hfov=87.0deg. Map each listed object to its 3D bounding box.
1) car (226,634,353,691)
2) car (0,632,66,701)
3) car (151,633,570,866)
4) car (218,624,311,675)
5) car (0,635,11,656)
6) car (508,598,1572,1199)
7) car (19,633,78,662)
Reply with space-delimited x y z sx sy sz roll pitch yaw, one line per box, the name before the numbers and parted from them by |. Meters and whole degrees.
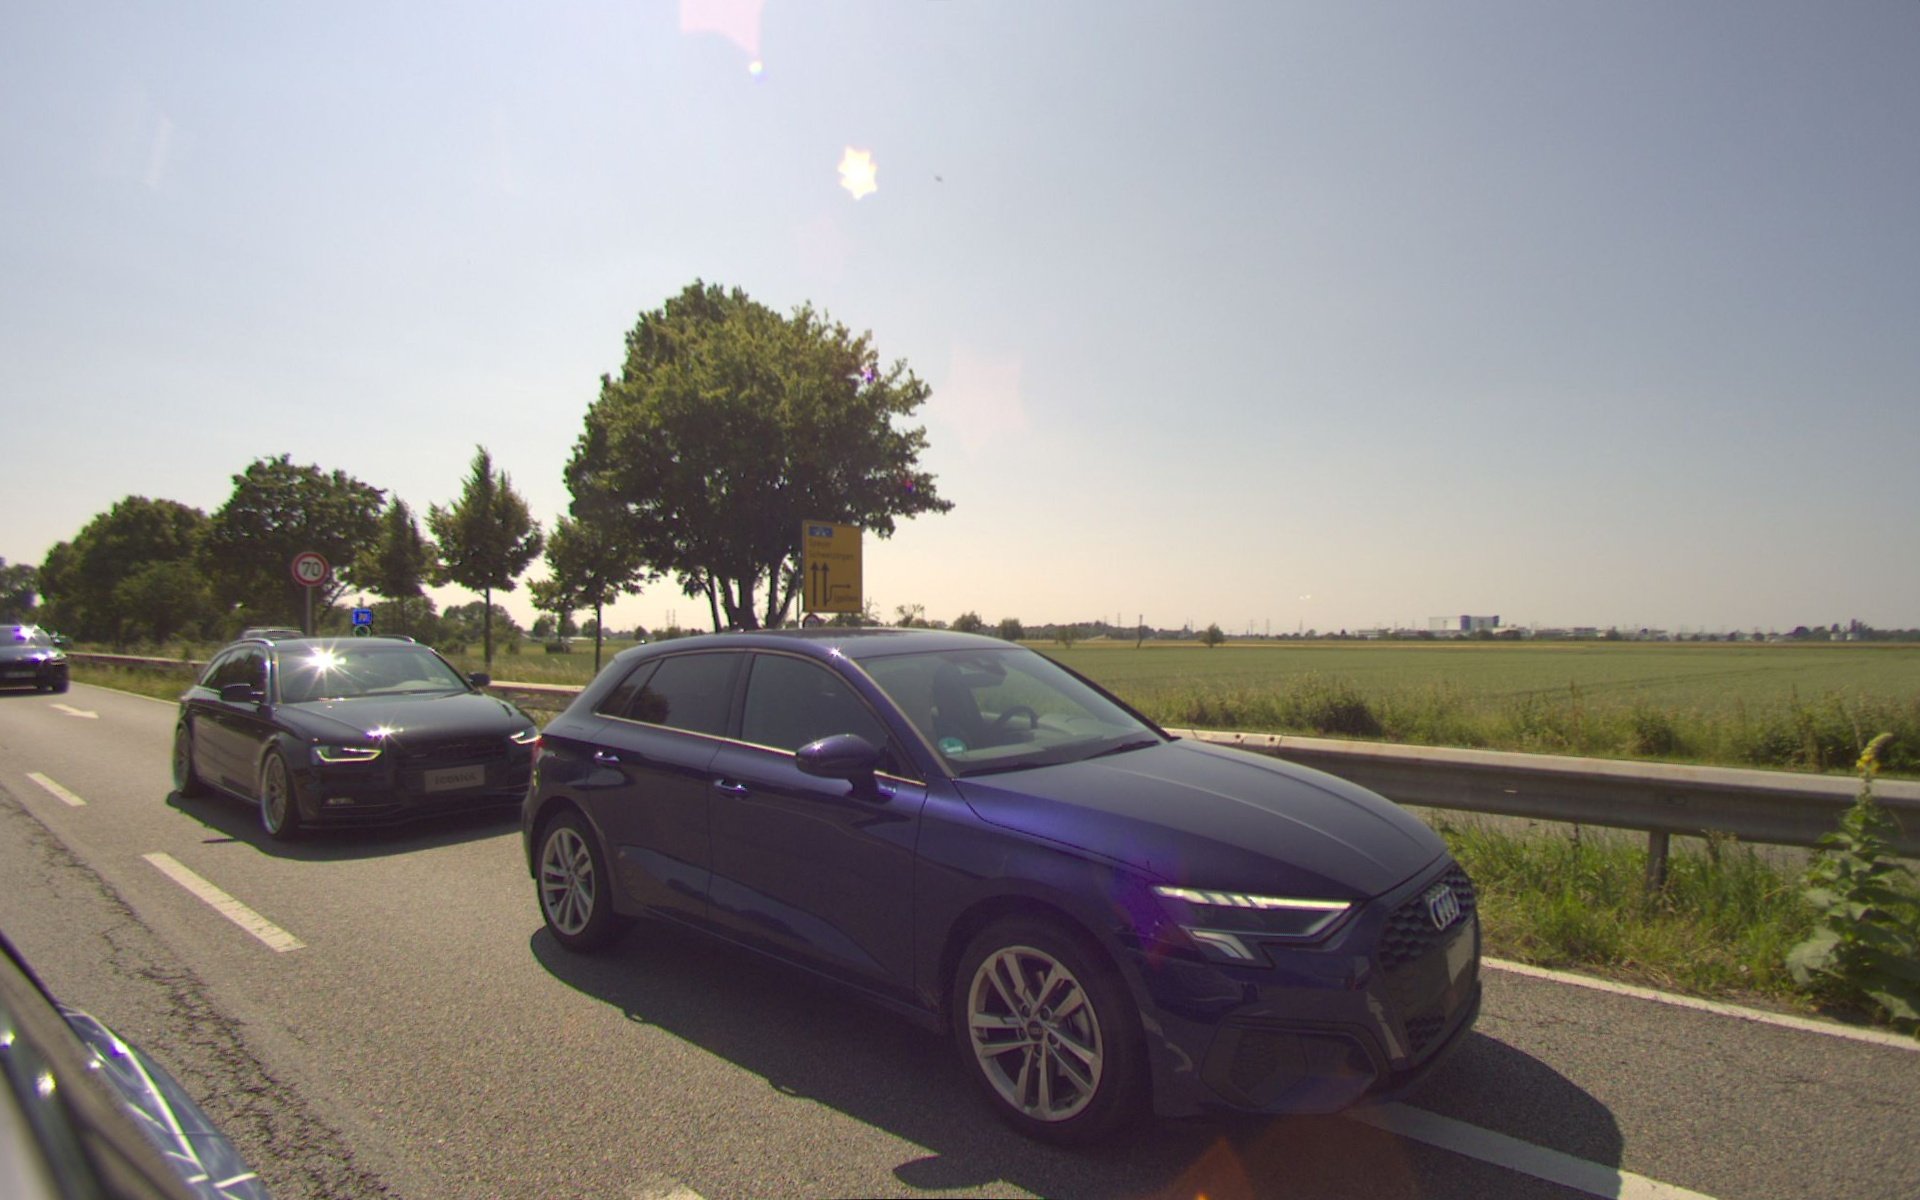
car | -19.013 1.711 28.630 4.502 1.465 1.859 -2 -3 41
car | -22.855 1.554 24.212 4.100 1.527 1.835 -2 -2 43
car | -5.146 0.999 8.393 4.453 1.391 1.722 -2 -1 42
car | -28.903 2.046 42.017 4.827 1.966 1.973 -2 -4 41
car | -76.851 3.596 80.146 4.478 1.675 1.973 -2 -3 41
car | -0.031 0.789 4.066 4.027 1.476 1.699 -2 -1 40
car | -52.435 2.729 58.208 4.478 1.615 1.973 -2 -3 41
